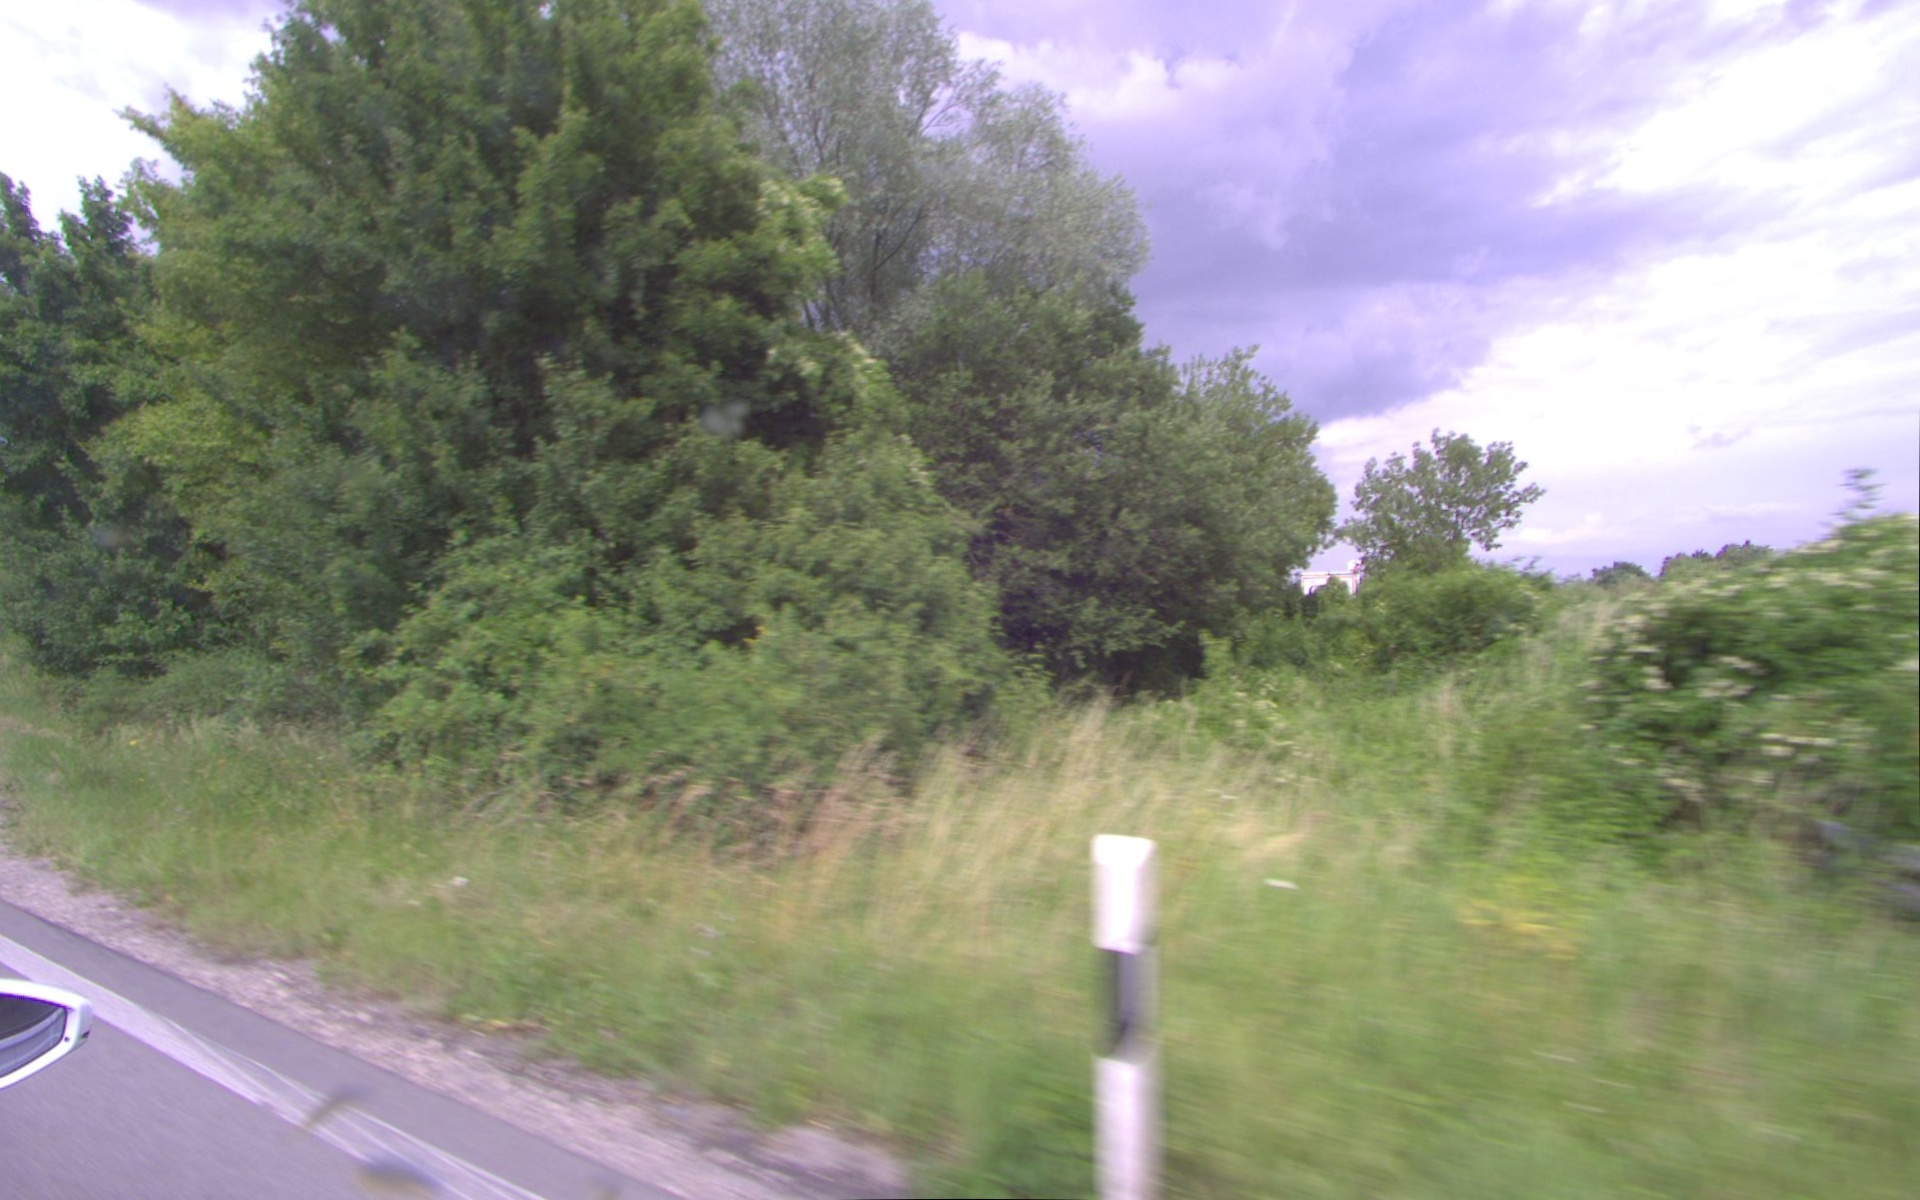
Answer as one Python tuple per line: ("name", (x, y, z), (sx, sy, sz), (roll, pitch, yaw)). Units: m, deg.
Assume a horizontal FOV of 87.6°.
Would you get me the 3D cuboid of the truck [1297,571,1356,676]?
("truck", (18.392, 1.134, 50.420), (2.620, 4.953, 5.954), (0, 0, 19))
